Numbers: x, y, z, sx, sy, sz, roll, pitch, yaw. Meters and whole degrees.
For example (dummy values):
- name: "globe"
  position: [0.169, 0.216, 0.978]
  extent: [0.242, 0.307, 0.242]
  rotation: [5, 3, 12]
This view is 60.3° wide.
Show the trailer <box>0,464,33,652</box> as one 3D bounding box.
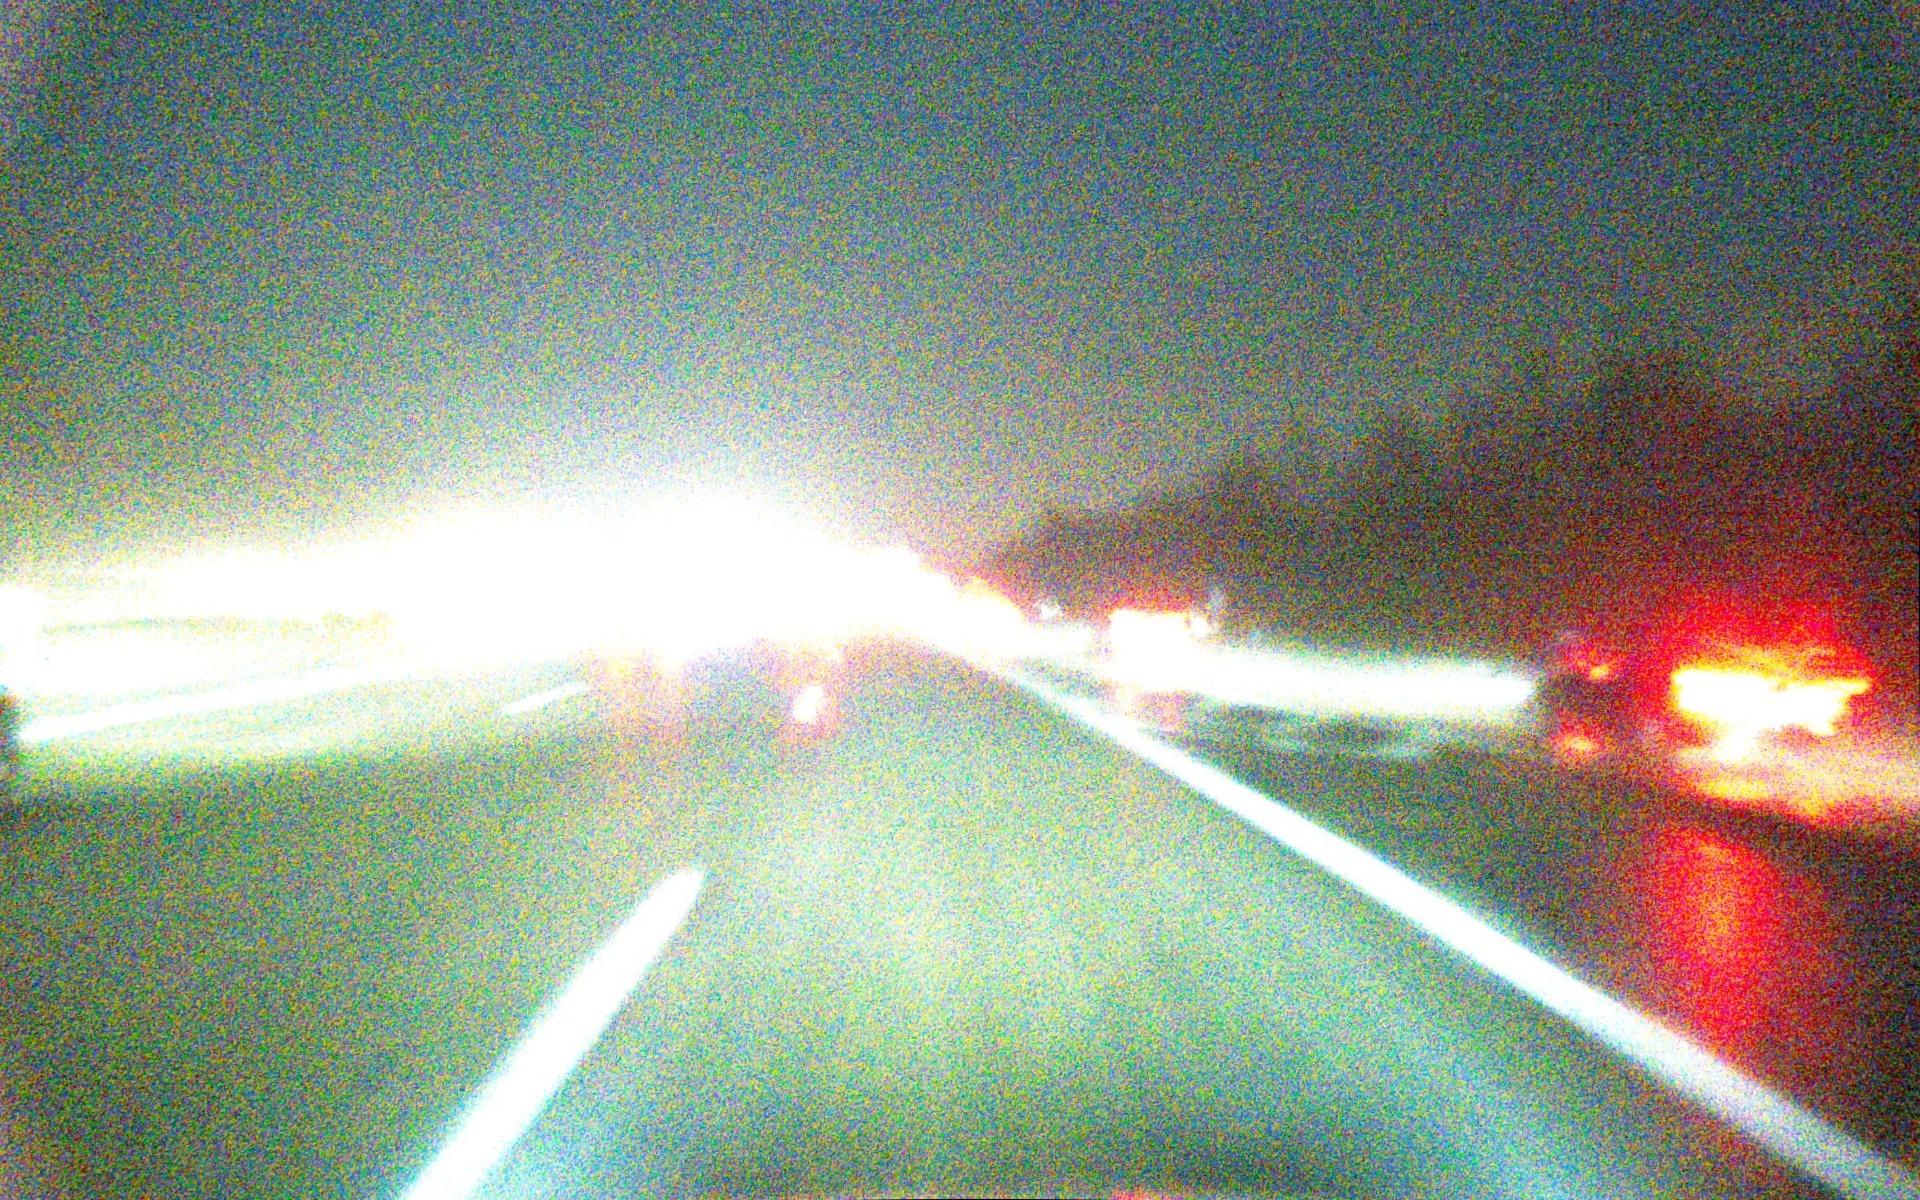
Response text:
- name: "trailer"
  position: [-24.555, -1.113, 35.249]
  extent: [2.498, 4.623, 13.906]
  rotation: [-1, -1, -3]

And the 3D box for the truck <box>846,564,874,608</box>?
- name: "truck"
  position: [-7.664, -1.035, 127.171]
  extent: [1.953, 3.096, 6.461]
  rotation: [-2, -1, -2]

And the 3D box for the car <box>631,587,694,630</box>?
- name: "car"
  position: [-9.333, 0.298, 52.116]
  extent: [1.630, 1.258, 3.756]
  rotation: [-2, -1, -6]

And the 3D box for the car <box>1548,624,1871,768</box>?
- name: "car"
  position: [9.289, 1.125, 20.955]
  extent: [1.954, 1.474, 4.333]
  rotation: [2, 0, -3]

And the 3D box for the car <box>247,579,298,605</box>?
- name: "car"
  position: [-50.441, -0.570, 121.371]
  extent: [1.750, 1.819, 4.271]
  rotation: [3, 0, 2]

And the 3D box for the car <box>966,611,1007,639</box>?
- name: "car"
  position: [1.301, 1.226, 81.926]
  extent: [1.551, 1.268, 3.063]
  rotation: [3, 0, -8]

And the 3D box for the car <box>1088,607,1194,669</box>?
- name: "car"
  position: [5.161, 1.053, 47.798]
  extent: [2.018, 1.545, 5.009]
  rotation: [3, 0, -6]

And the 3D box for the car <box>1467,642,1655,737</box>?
- name: "car"
  position: [11.492, 1.678, 31.918]
  extent: [1.687, 1.523, 4.037]
  rotation: [2, 0, -8]

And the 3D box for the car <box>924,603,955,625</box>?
- name: "car"
  position: [-1.310, 0.891, 102.961]
  extent: [1.551, 1.268, 3.063]
  rotation: [2, -1, -8]

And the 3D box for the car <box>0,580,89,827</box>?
- name: "car"
  position: [-6.925, 0.646, 9.231]
  extent: [1.821, 1.567, 4.747]
  rotation: [1, 0, -4]

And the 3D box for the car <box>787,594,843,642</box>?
- name: "car"
  position: [-5.004, 0.605, 57.397]
  extent: [1.766, 1.513, 3.997]
  rotation: [3, 0, -4]
